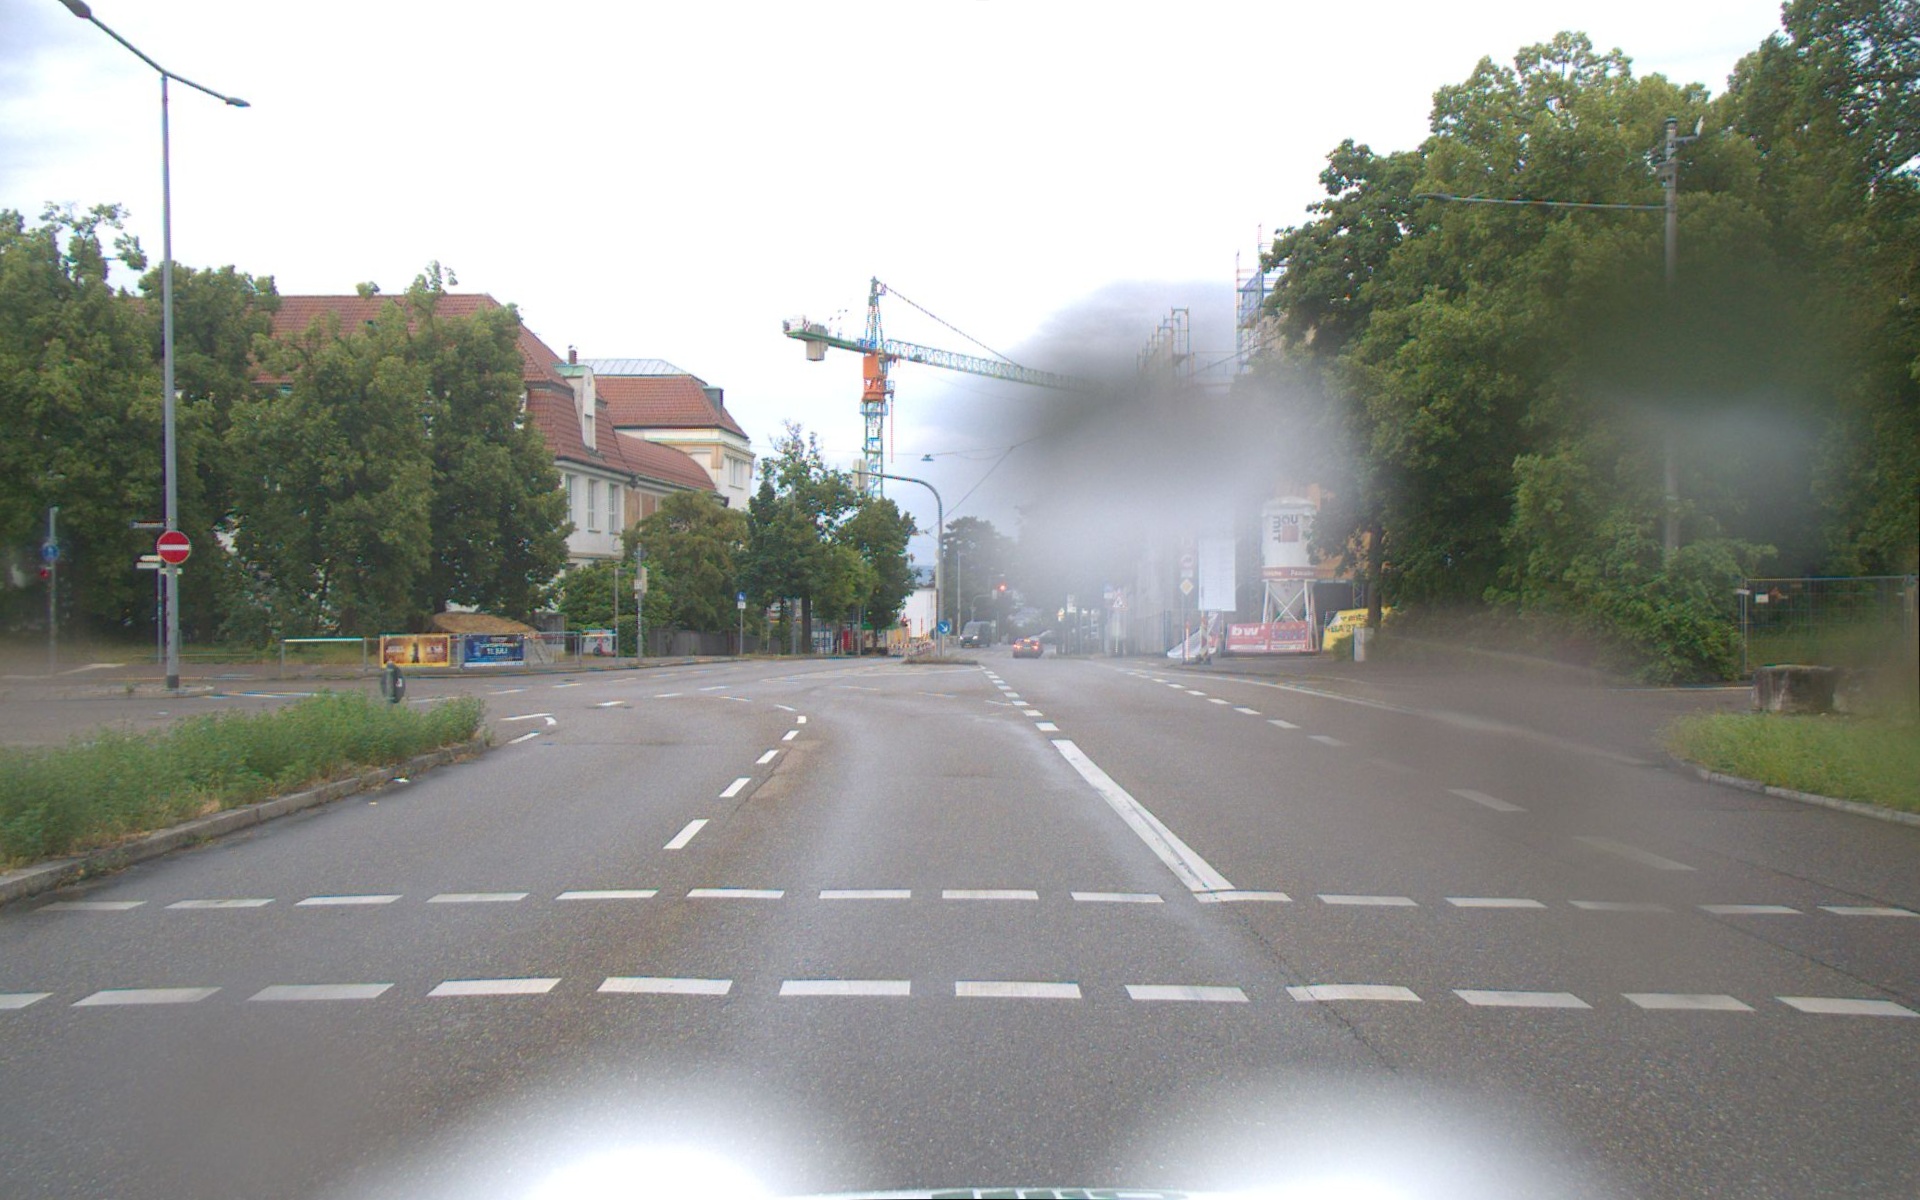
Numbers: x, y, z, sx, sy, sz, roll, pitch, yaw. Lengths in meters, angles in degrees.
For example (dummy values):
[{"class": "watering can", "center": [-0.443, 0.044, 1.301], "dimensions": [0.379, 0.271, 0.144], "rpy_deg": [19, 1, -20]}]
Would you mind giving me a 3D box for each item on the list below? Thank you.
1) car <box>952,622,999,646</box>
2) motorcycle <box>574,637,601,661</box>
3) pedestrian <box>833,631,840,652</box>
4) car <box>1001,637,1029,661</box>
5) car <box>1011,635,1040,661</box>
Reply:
[{"class": "car", "center": [1.640, 3.520, 173.630], "dimensions": [2.791, 2.445, 6.185], "rpy_deg": [0, -1, 23]}, {"class": "motorcycle", "center": [-14.373, 1.880, 63.771], "dimensions": [0.832, 0.893, 0.877], "rpy_deg": [1, -1, -1]}, {"class": "pedestrian", "center": [-9.687, 3.278, 130.119], "dimensions": [0.483, 1.674, 0.534], "rpy_deg": [1, -1, 2]}, {"class": "car", "center": [4.345, 3.853, 130.883], "dimensions": [1.953, 1.780, 3.999], "rpy_deg": [-1, 0, -1]}, {"class": "car", "center": [4.887, 3.586, 124.327], "dimensions": [1.953, 1.780, 3.999], "rpy_deg": [-1, 0, -1]}]
